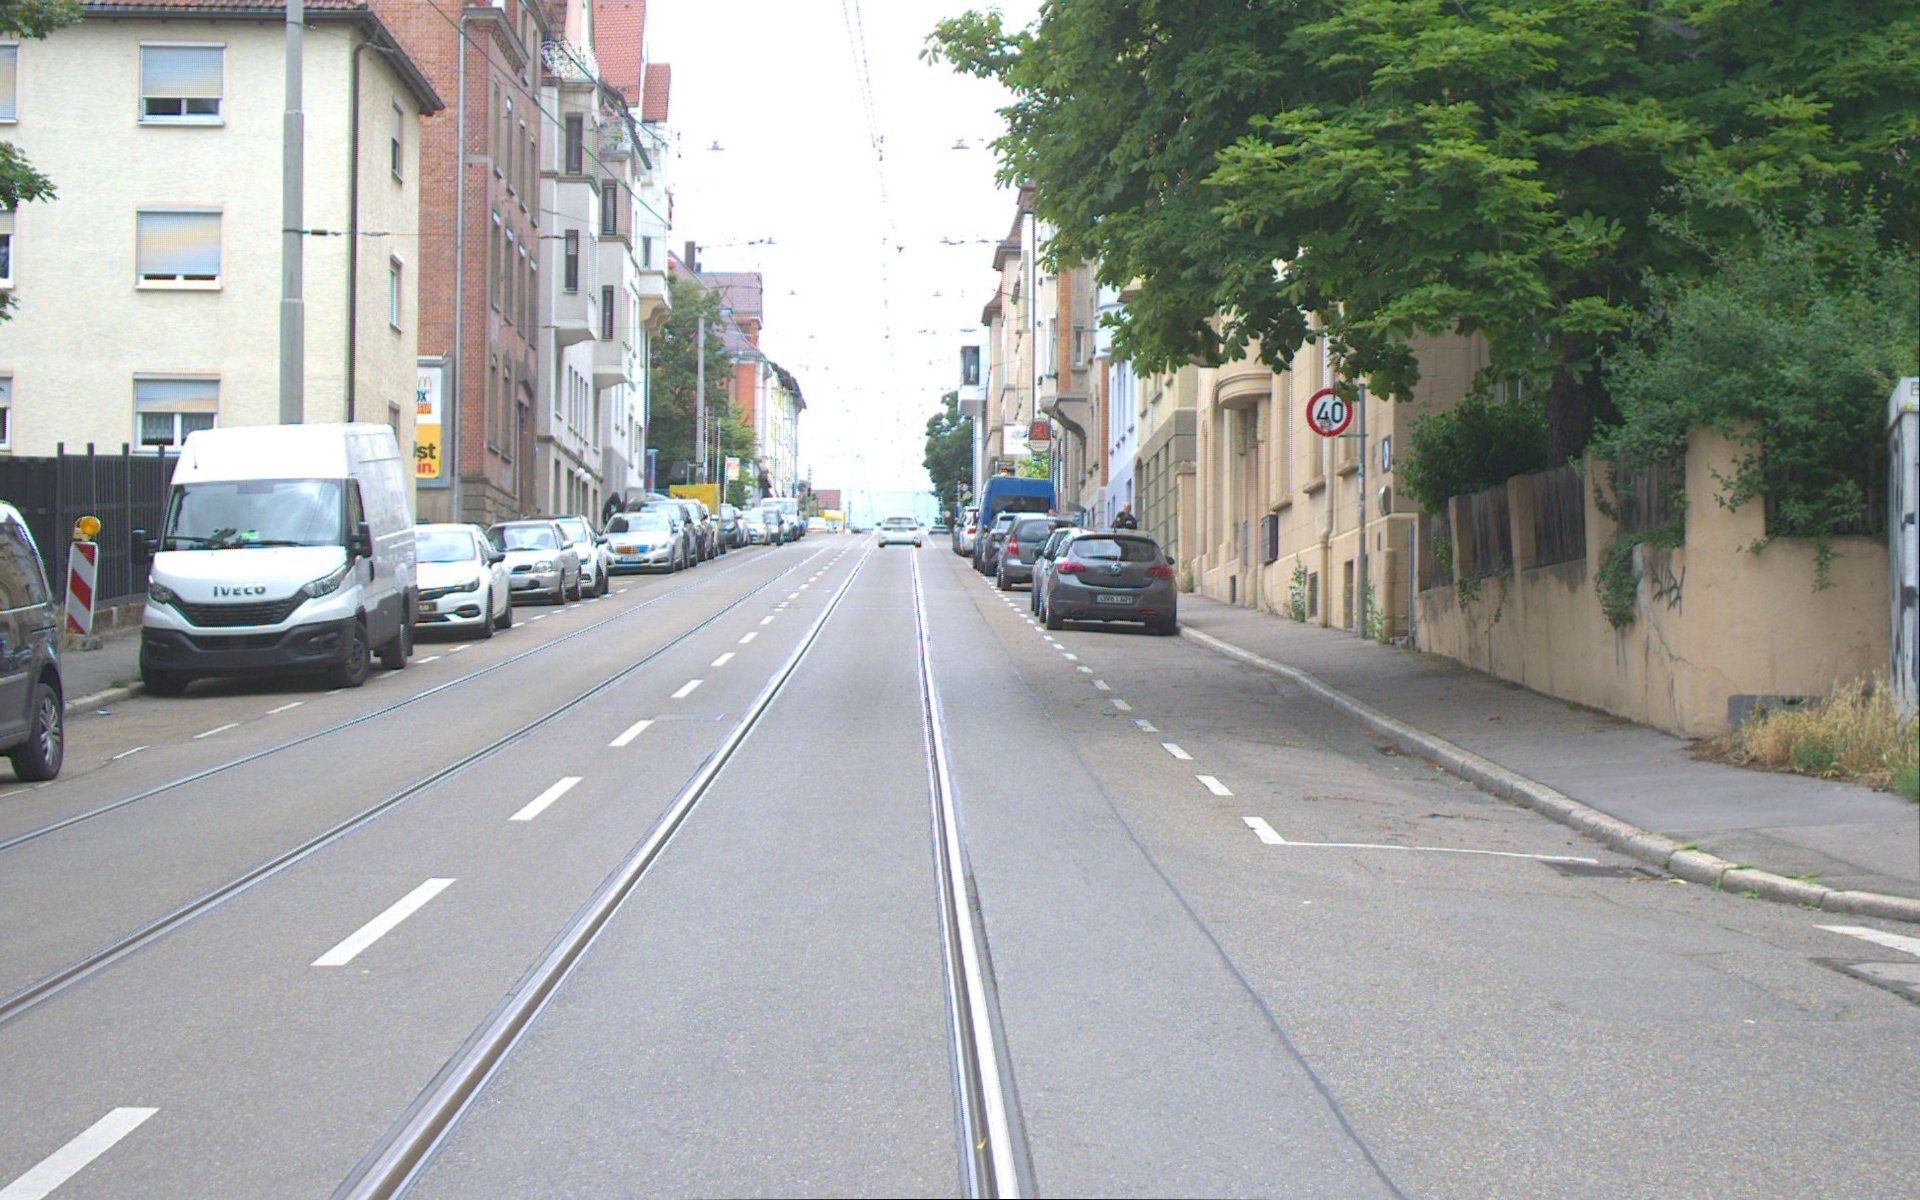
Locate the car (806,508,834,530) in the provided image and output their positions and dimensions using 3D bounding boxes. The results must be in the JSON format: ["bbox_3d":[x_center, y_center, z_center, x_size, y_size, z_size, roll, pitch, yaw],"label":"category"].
[{"bbox_3d":[-10.155,-5.868,249.494,1.855,1.601,4.297,1,1,-1],"label":"car"}]

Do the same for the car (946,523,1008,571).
[{"bbox_3d":[0.534,-1.705,109.792,1.750,1.386,4.308,3,1,-2],"label":"car"}]

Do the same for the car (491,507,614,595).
[{"bbox_3d":[-7.344,-0.914,62.301,1.827,1.424,4.628,-3,2,-3],"label":"car"}]

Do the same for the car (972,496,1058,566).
[{"bbox_3d":[1.296,-1.667,82.562,1.779,1.525,4.193,4,1,-2],"label":"car"}]

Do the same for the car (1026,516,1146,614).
[{"bbox_3d":[1.988,-0.589,55.192,1.695,1.399,3.668,3,2,0],"label":"car"}]

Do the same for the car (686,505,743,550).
[{"bbox_3d":[-8.375,-2.472,117.513,1.697,1.463,3.023,-1,1,0],"label":"car"}]

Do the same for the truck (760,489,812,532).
[{"bbox_3d":[-9.251,-4.764,183.417,2.280,2.180,8.025,1,1,0],"label":"truck"}]

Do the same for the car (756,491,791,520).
[{"bbox_3d":[-9.463,-4.781,174.902,1.697,1.428,4.482,-1,1,-2],"label":"car"}]

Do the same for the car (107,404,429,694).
[{"bbox_3d":[-6.890,-0.569,34.958,2.158,2.598,6.220,-2,2,-2],"label":"car"}]

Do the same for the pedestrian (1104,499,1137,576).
[{"bbox_3d":[3.561,-1.383,76.339,0.540,1.676,0.516,-4,-1,-9],"label":"pedestrian"}]

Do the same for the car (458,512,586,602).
[{"bbox_3d":[-7.328,-0.744,57.822,1.600,1.363,3.807,-3,2,0],"label":"car"}]

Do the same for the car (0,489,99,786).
[{"bbox_3d":[-6.623,0.263,20.346,1.762,1.769,4.668,-3,1,1],"label":"car"}]

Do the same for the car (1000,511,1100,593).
[{"bbox_3d":[1.808,-1.007,70.223,1.827,1.513,4.028,3,2,0],"label":"car"}]

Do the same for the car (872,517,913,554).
[{"bbox_3d":[-2.866,-2.756,146.345,1.672,1.508,3.798,1,1,-2],"label":"car"}]

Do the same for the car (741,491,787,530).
[{"bbox_3d":[-8.902,-4.080,156.573,1.744,1.730,4.519,-1,1,1],"label":"car"}]

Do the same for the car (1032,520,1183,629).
[{"bbox_3d":[2.055,-0.384,48.868,1.839,1.398,4.168,3,1,-1],"label":"car"}]

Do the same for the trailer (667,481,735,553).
[{"bbox_3d":[-7.959,-2.573,105.771,1.748,2.148,4.071,-1,2,0],"label":"trailer"}]

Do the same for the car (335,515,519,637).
[{"bbox_3d":[-6.829,-0.345,44.438,1.719,1.398,4.314,-2,2,-1],"label":"car"}]

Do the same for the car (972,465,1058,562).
[{"bbox_3d":[1.368,-2.184,87.933,1.993,2.368,5.057,1,1,-1],"label":"car"}]

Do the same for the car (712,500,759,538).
[{"bbox_3d":[-9.461,-3.402,145.140,1.697,1.550,3.850,1,1,1],"label":"car"}]

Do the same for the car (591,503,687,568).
[{"bbox_3d":[-7.603,-1.553,81.821,1.827,1.424,4.839,-1,2,0],"label":"car"}]
